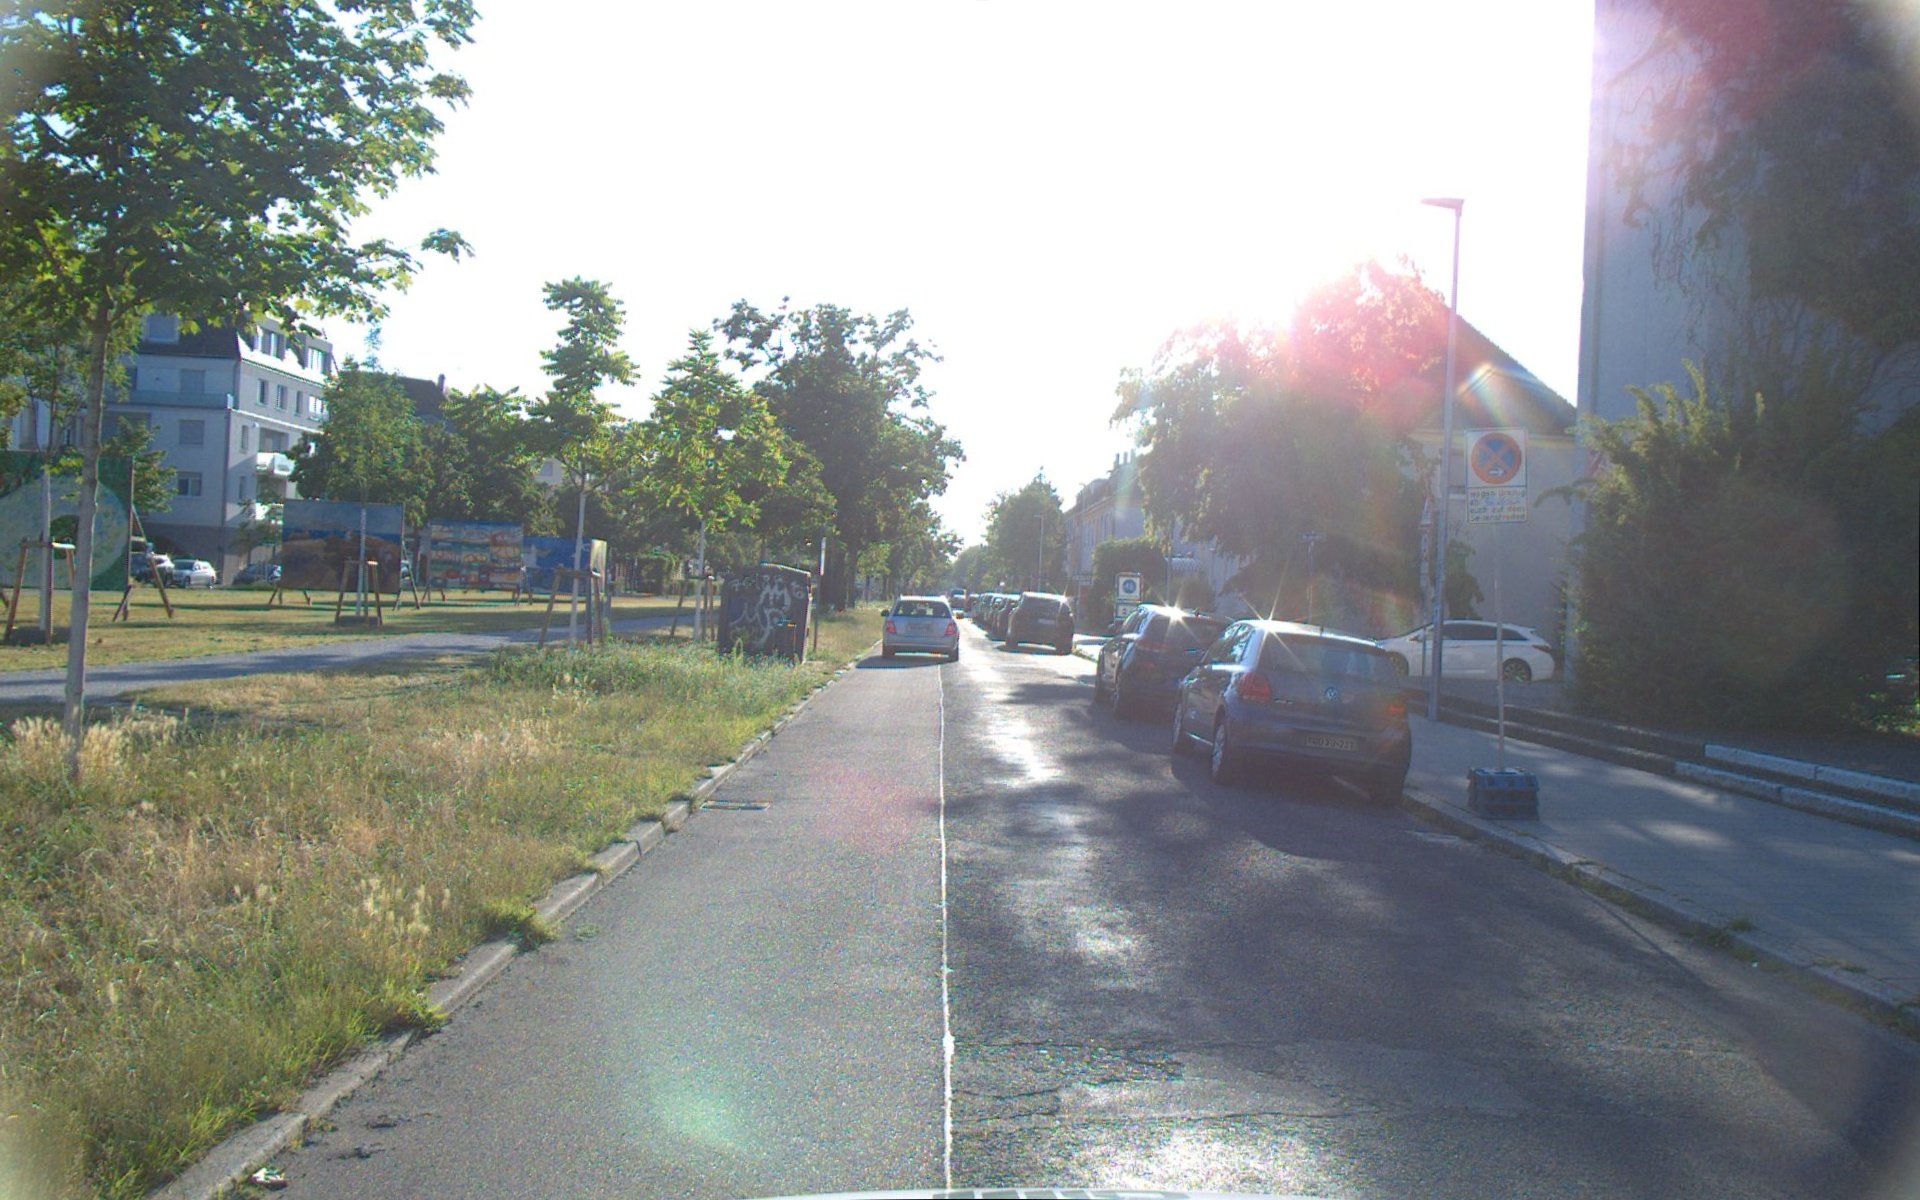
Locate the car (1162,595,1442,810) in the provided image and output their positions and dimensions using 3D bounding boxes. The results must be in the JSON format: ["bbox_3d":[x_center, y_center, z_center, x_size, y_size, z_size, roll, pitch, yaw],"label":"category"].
[{"bbox_3d":[3.099,0.848,15.843,1.654,1.553,4.174,7,1,0],"label":"car"}]

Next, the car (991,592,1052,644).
[{"bbox_3d":[2.293,0.650,62.781,1.895,1.750,4.620,5,0,-1],"label":"car"}]

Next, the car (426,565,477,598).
[{"bbox_3d":[-34.435,-1.227,112.124,1.953,2.093,5.051,-1,-1,0],"label":"car"}]

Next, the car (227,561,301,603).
[{"bbox_3d":[-34.288,-0.870,81.562,1.851,1.950,4.326,-1,-1,-1],"label":"car"}]

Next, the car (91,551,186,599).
[{"bbox_3d":[-40.165,-1.174,80.969,2.192,2.168,4.853,-1,-1,0],"label":"car"}]

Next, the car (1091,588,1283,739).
[{"bbox_3d":[2.958,0.760,22.549,1.787,1.587,4.621,9,0,0],"label":"car"}]

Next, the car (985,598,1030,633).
[{"bbox_3d":[2.244,0.711,78.695,1.953,1.487,4.562,4,0,1],"label":"car"}]

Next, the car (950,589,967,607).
[{"bbox_3d":[-0.177,-0.237,207.391,1.948,2.058,4.000,3,0,0],"label":"car"}]

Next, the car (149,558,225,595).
[{"bbox_3d":[-40.053,-1.193,85.814,1.784,1.775,4.459,-1,-1,0],"label":"car"}]

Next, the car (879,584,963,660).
[{"bbox_3d":[-0.855,0.466,38.138,1.786,1.594,4.000,1,0,0],"label":"car"}]

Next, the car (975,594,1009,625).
[{"bbox_3d":[1.827,0.560,95.109,1.741,1.672,4.755,2,0,-1],"label":"car"}]

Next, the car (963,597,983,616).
[{"bbox_3d":[1.181,0.611,149.081,1.686,1.625,3.999,2,-1,0],"label":"car"}]

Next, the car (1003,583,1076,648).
[{"bbox_3d":[2.400,0.472,50.992,1.796,1.761,5.030,5,-1,-1],"label":"car"}]

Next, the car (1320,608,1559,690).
[{"bbox_3d":[10.685,1.130,37.083,4.749,1.512,2.001,3,-4,-1],"label":"car"}]
